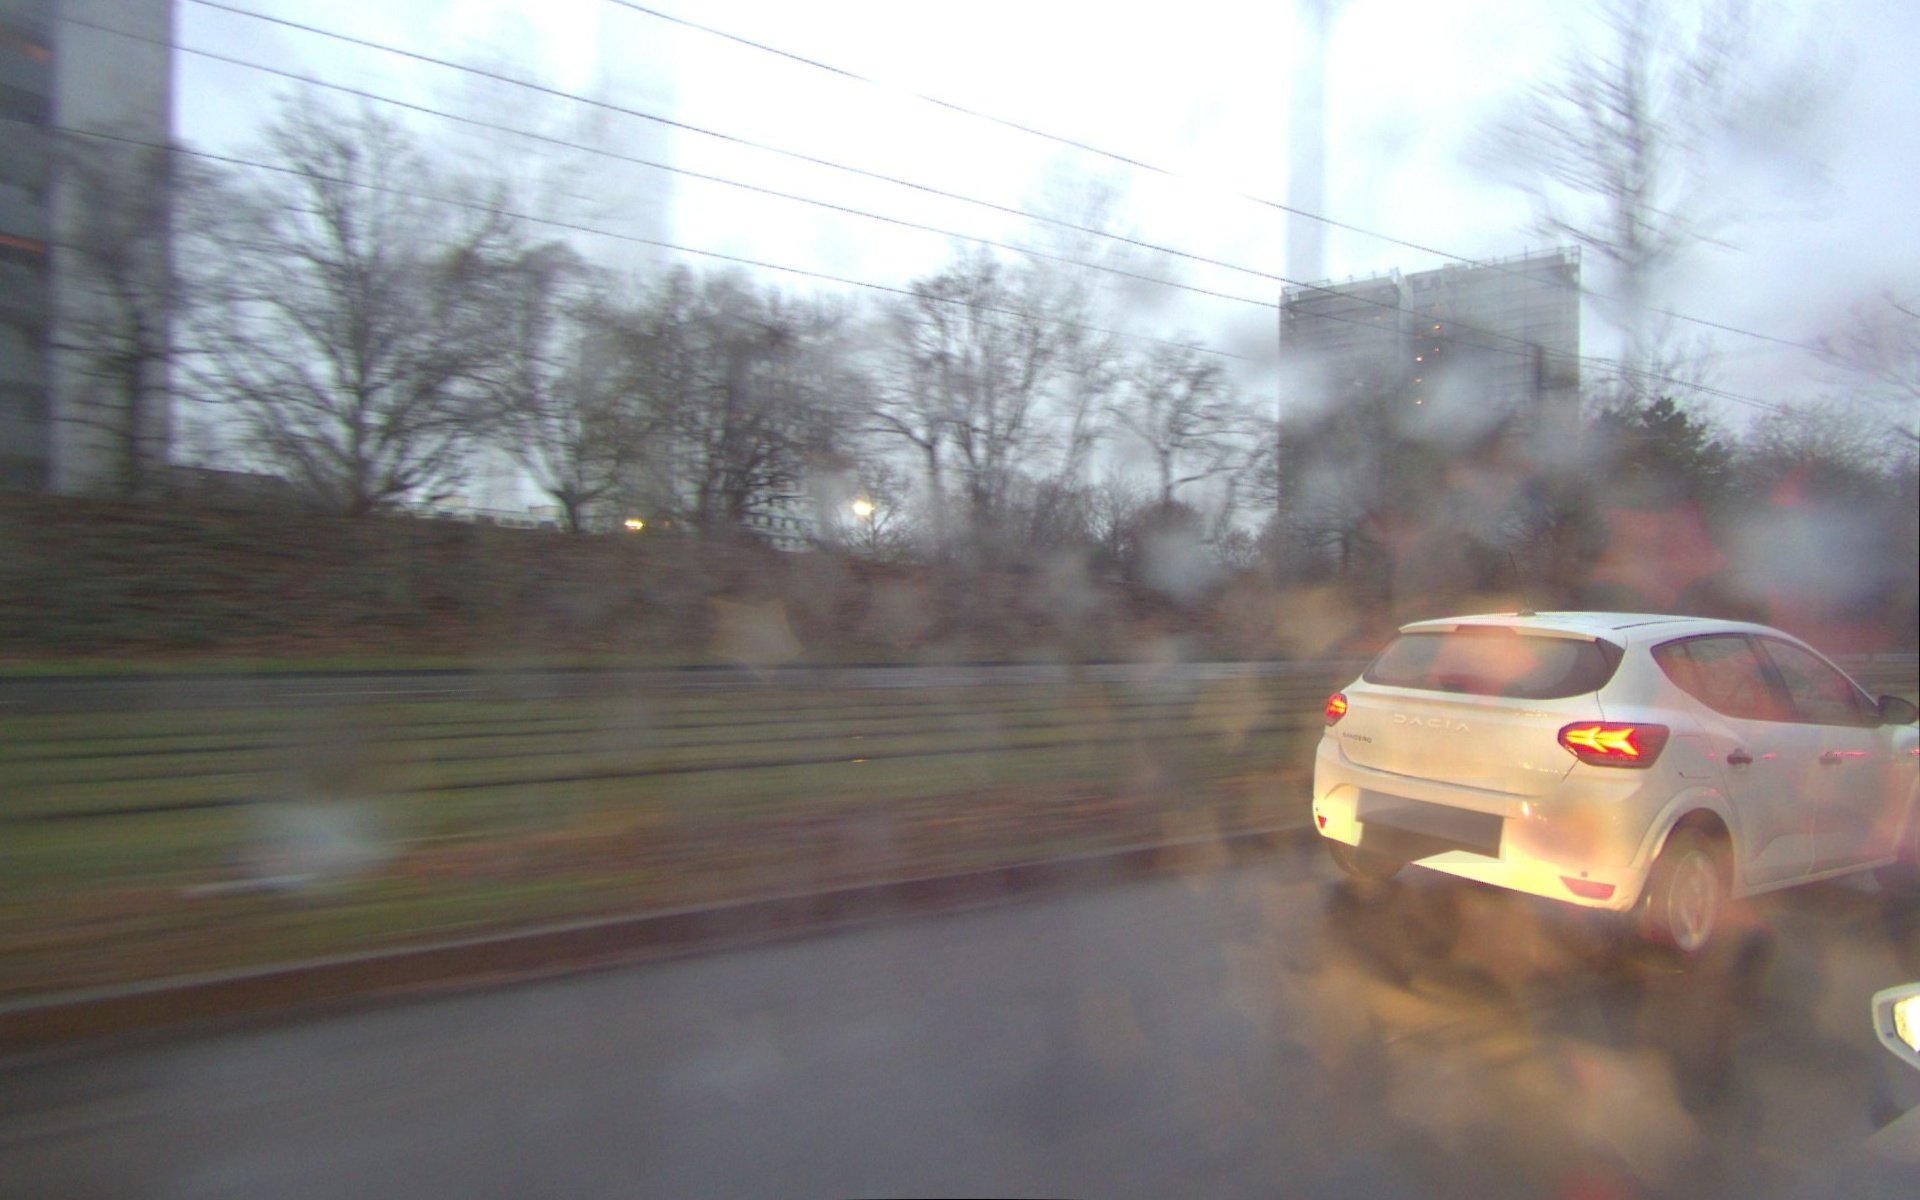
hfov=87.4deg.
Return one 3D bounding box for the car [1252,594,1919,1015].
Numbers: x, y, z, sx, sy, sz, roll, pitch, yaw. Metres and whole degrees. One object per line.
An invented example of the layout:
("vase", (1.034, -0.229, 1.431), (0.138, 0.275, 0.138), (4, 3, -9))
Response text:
("car", (3.691, 0.793, 5.466), (4.086, 1.545, 1.701), (1, -1, -30))
